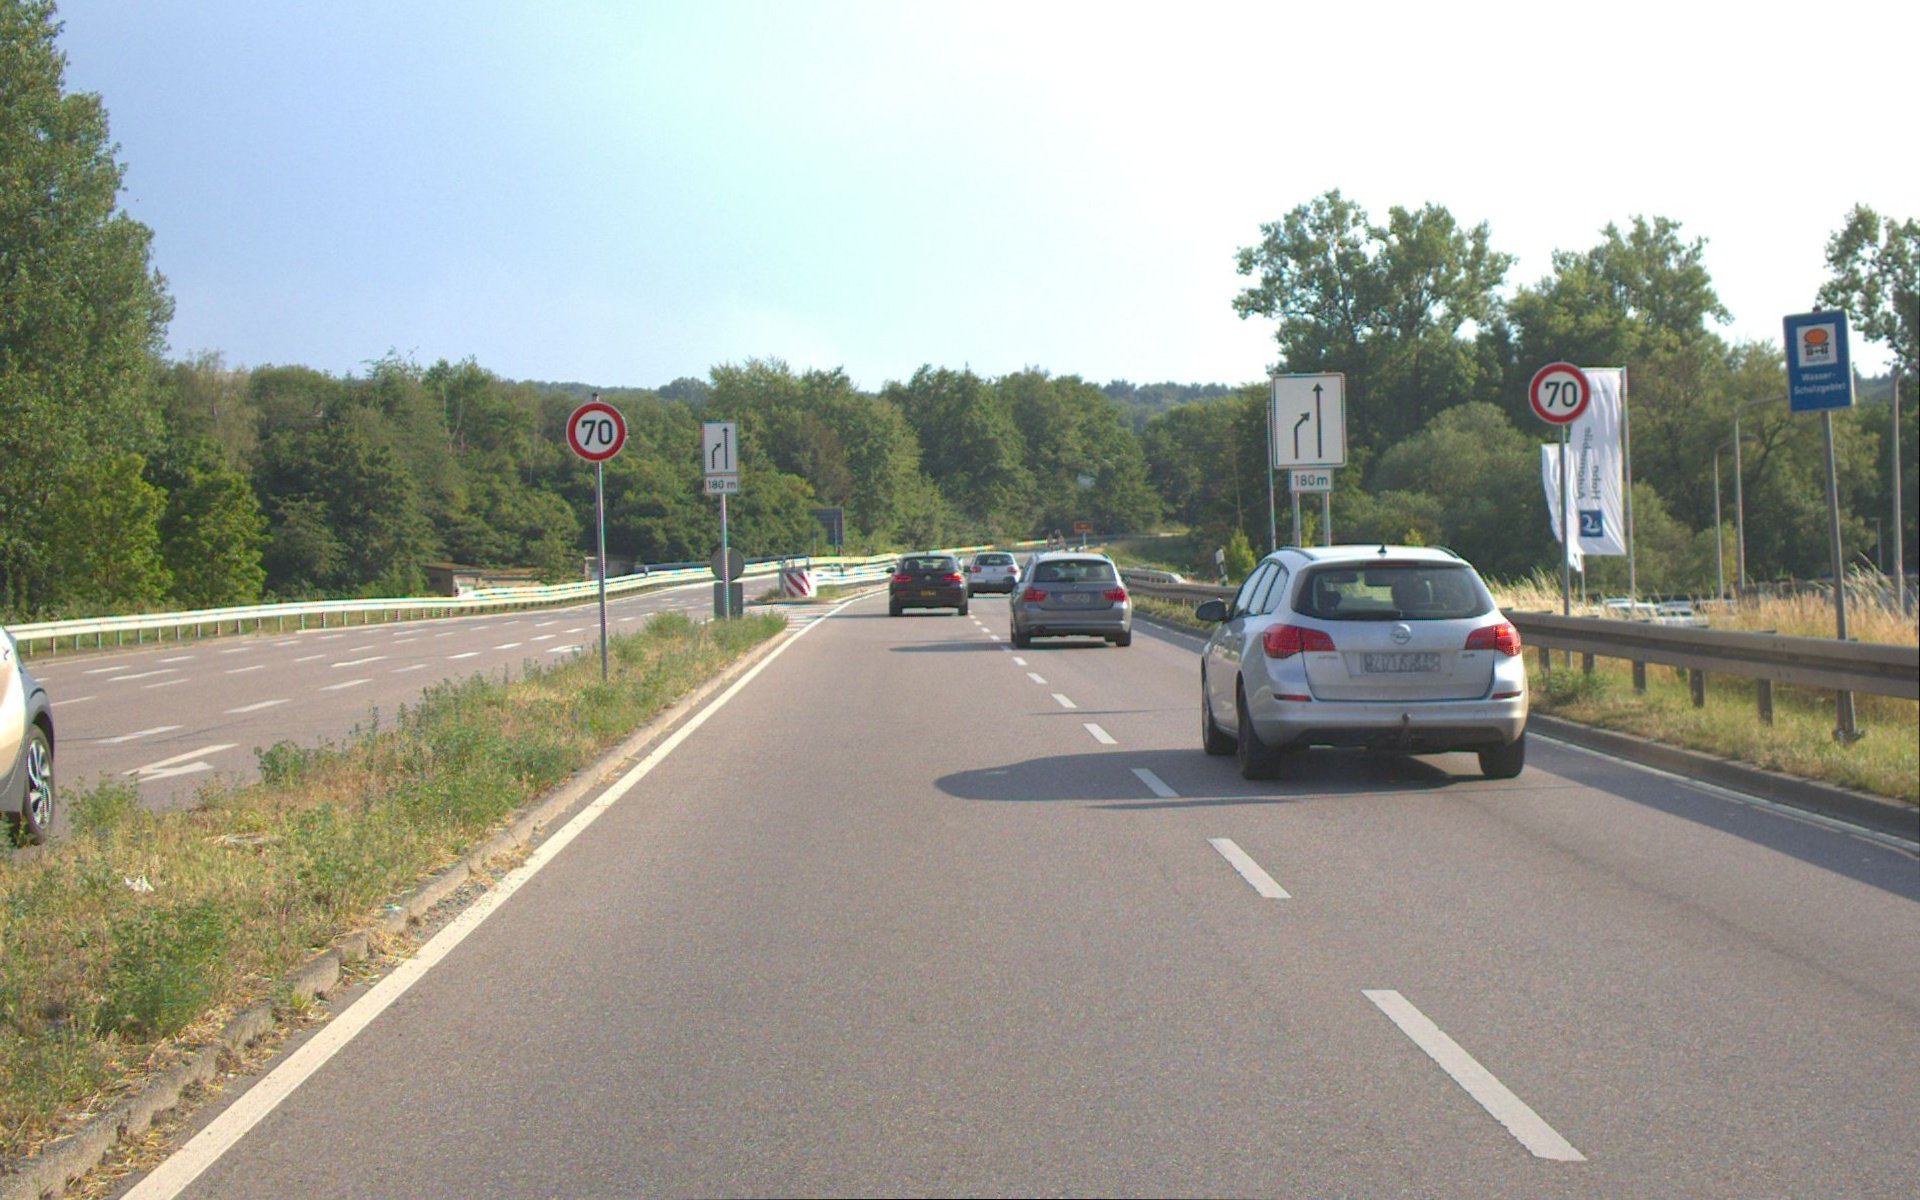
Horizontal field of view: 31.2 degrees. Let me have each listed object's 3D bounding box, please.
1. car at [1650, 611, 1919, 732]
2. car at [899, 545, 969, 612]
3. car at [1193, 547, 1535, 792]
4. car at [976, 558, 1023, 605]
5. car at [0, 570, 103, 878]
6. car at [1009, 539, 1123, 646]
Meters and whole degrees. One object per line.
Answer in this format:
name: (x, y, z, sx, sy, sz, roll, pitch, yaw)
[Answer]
car: (14.745, 1.190, 57.941, 5.882, 2.007, 2.000, 0, 0, 3)
car: (-0.575, -0.466, 77.646, 1.492, 1.471, 3.358, 0, 0, 1)
car: (2.575, 0.426, 22.750, 1.809, 1.481, 4.000, 0, 0, 0)
car: (1.291, -0.590, 110.642, 1.492, 1.471, 3.358, 0, 0, 1)
car: (-5.638, 0.654, 16.943, 1.780, 1.515, 4.000, -3, 0, 0)
car: (1.600, -0.109, 52.782, 1.667, 1.568, 4.000, 0, 0, 1)
